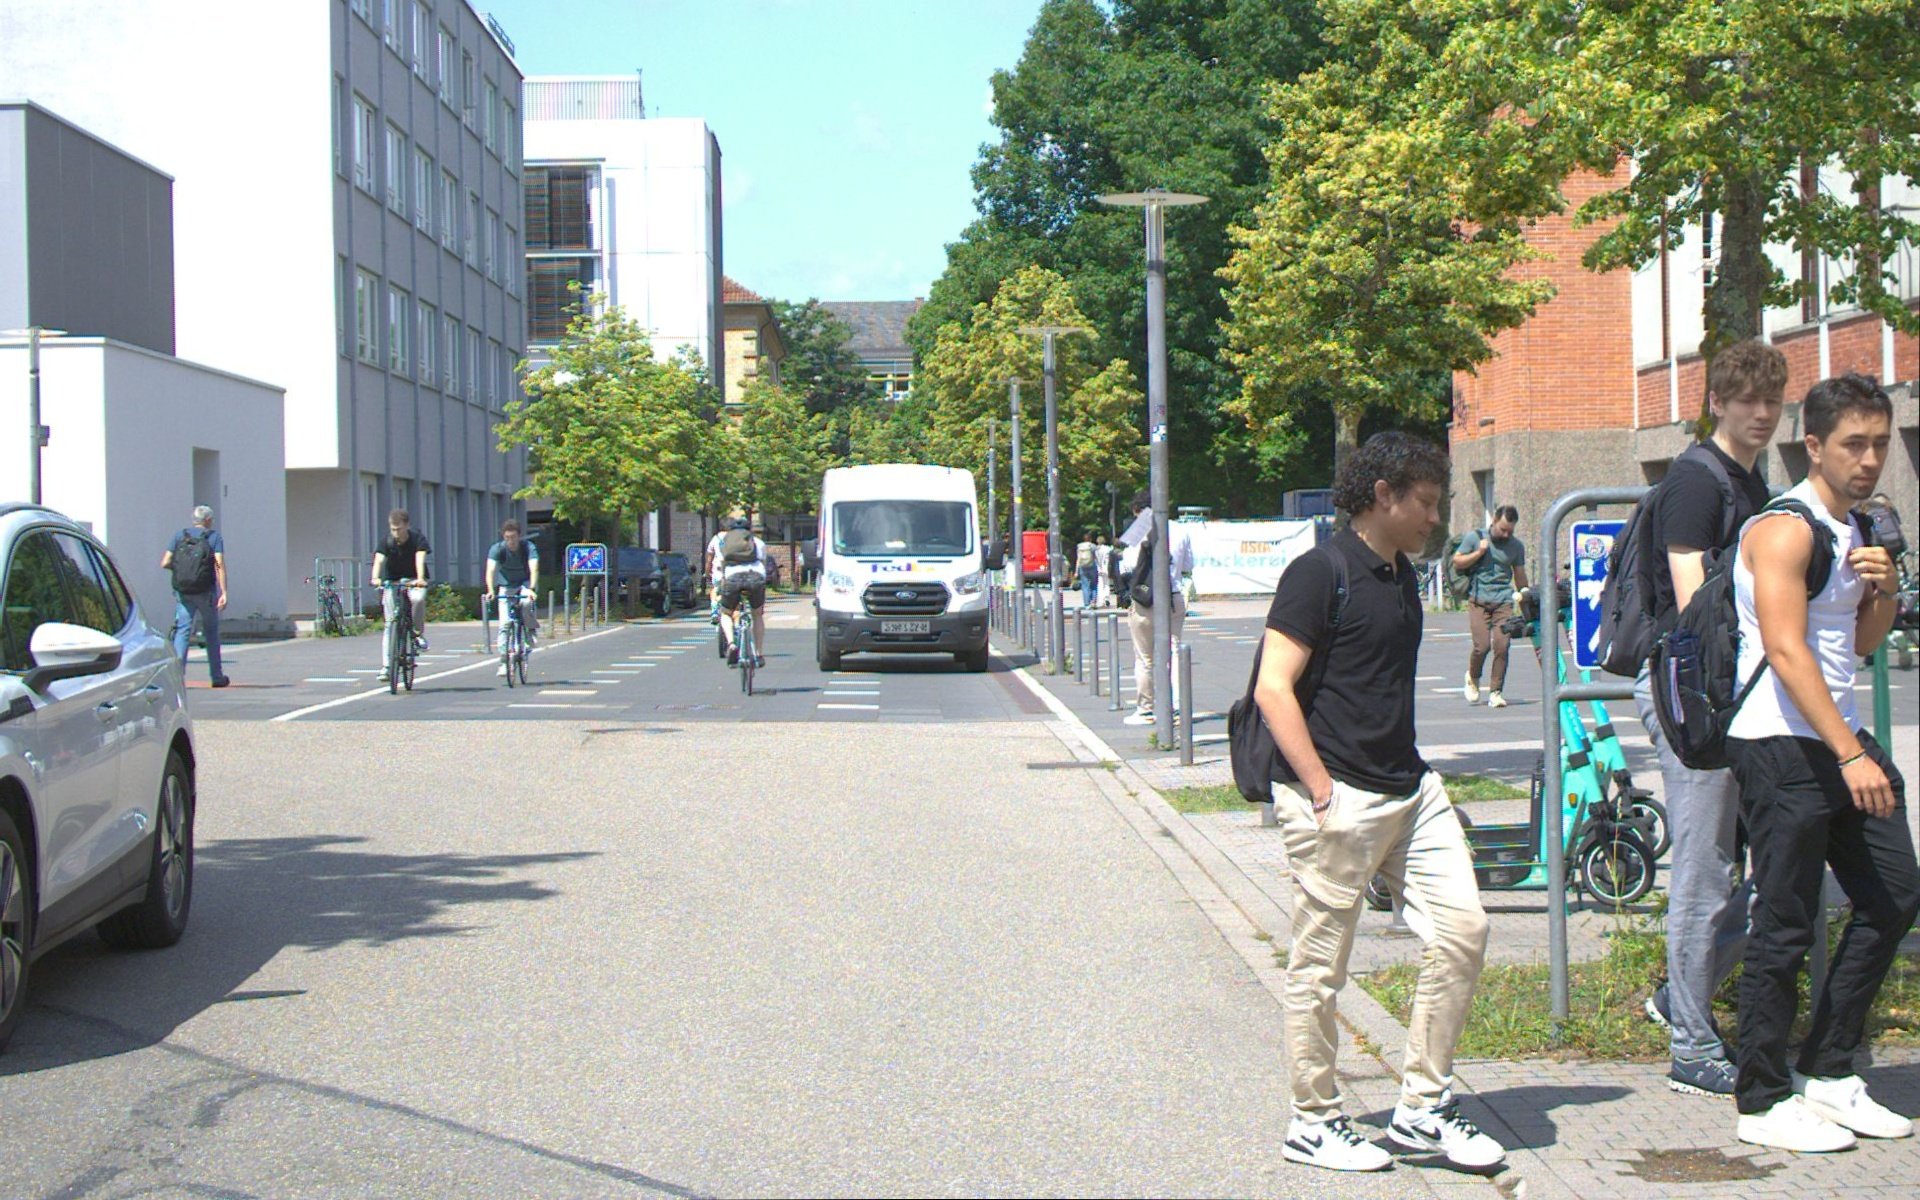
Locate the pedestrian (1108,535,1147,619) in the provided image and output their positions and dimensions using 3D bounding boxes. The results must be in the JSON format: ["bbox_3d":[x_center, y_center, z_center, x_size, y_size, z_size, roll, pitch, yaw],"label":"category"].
[{"bbox_3d":[3.733,-0.522,76.676,0.790,1.853,1.026,-1,1,0],"label":"pedestrian"}]

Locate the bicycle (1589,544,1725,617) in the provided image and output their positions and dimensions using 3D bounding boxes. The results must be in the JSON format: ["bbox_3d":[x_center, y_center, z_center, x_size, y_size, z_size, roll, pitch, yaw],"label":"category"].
[{"bbox_3d":[10.113,-0.285,49.912,1.809,0.981,0.560,-3,1,-1],"label":"bicycle"}]

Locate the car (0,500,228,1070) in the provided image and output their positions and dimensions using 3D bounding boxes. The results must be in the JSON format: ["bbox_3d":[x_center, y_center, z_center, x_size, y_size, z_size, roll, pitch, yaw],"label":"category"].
[{"bbox_3d":[-3.695,0.498,10.799,1.918,1.613,4.521,2,0,-2],"label":"car"}]

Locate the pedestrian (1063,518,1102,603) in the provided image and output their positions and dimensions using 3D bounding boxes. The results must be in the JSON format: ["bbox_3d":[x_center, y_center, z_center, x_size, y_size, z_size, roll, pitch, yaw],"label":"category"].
[{"bbox_3d":[2.736,-0.885,76.862,0.790,1.853,1.243,-1,1,0],"label":"pedestrian"}]

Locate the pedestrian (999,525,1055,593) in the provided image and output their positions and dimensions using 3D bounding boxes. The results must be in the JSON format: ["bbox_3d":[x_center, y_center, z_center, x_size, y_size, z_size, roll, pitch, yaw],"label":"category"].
[{"bbox_3d":[2.082,-1.288,107.475,1.499,1.989,1.646,-4,2,-3],"label":"pedestrian"}]

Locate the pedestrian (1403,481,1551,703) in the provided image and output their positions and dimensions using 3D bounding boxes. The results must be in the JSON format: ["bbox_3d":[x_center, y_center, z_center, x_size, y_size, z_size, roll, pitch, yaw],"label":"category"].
[{"bbox_3d":[4.144,-0.072,27.629,0.853,1.727,1.161,-1,1,-8],"label":"pedestrian"}]

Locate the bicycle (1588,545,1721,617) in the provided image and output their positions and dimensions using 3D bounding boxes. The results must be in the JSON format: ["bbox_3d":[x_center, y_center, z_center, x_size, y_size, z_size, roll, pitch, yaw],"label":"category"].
[{"bbox_3d":[10.249,-0.289,50.745,1.809,0.981,0.560,-3,1,-1],"label":"bicycle"}]

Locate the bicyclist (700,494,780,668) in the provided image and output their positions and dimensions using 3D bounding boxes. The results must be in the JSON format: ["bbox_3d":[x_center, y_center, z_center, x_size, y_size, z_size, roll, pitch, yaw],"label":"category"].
[{"bbox_3d":[-2.146,-0.177,33.647,0.717,1.657,1.095,-2,-1,-3],"label":"bicyclist"}]

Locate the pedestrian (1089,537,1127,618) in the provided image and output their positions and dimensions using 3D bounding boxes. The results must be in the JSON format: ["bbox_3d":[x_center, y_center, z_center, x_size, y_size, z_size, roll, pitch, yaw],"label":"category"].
[{"bbox_3d":[3.443,-0.537,80.115,0.790,1.853,1.026,-1,1,0],"label":"pedestrian"}]

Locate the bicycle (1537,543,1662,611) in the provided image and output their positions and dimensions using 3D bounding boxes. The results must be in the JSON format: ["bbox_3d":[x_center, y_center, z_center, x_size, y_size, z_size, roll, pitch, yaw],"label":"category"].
[{"bbox_3d":[9.993,-0.357,53.782,1.809,0.981,0.560,-3,1,-1],"label":"bicycle"}]

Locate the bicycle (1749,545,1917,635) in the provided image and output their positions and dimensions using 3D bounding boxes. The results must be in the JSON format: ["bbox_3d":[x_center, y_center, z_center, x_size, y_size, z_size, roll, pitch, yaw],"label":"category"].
[{"bbox_3d":[10.353,-0.127,40.810,1.809,0.981,0.560,-3,1,-1],"label":"bicycle"}]

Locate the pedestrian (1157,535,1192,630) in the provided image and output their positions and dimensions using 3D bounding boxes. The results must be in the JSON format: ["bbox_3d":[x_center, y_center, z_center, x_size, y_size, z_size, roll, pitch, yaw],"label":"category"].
[{"bbox_3d":[4.224,-0.357,67.777,0.576,1.853,0.570,-1,1,-3],"label":"pedestrian"}]

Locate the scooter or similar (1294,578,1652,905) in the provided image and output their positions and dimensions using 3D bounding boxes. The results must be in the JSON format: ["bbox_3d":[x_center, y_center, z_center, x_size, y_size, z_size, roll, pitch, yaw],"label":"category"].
[{"bbox_3d":[2.082,0.555,13.973,1.262,1.260,0.649,-1,1,31],"label":"scooter or similar"}]

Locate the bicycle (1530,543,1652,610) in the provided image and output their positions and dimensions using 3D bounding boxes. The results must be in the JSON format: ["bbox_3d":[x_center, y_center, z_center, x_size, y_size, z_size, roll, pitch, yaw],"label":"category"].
[{"bbox_3d":[10.045,-0.380,54.746,1.809,0.981,0.560,-3,1,-1],"label":"bicycle"}]

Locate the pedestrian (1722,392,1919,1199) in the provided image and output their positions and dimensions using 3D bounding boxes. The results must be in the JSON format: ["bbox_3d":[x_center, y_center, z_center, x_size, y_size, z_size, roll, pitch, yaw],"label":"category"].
[{"bbox_3d":[1.945,0.506,5.846,0.983,1.733,0.699,-2,1,40],"label":"pedestrian"}]

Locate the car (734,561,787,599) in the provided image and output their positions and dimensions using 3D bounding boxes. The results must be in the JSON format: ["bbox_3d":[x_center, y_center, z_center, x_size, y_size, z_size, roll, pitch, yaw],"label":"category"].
[{"bbox_3d":[-8.352,-0.842,144.238,1.795,1.525,4.000,-1,1,3],"label":"car"}]

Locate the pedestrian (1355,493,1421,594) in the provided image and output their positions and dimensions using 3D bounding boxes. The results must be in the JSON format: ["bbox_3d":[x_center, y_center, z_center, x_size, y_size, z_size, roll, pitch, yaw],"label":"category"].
[{"bbox_3d":[8.004,-1.057,64.266,0.853,1.853,1.115,-1,1,28],"label":"pedestrian"}]

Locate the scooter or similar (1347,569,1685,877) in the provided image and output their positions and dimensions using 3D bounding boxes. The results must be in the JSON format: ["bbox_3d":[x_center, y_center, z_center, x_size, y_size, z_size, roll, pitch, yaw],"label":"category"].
[{"bbox_3d":[2.390,0.513,14.789,1.262,1.260,0.638,-1,1,31],"label":"scooter or similar"}]

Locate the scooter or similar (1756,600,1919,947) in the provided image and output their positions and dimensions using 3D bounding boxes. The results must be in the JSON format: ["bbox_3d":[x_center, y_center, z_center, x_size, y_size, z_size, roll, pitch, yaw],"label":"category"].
[{"bbox_3d":[3.238,0.599,12.433,0.649,1.156,1.264,-1,1,14],"label":"scooter or similar"}]

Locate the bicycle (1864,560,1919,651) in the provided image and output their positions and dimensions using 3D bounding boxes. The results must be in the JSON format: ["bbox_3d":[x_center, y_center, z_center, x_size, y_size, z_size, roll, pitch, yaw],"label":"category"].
[{"bbox_3d":[10.367,0.028,35.646,1.809,0.909,0.560,-2,1,-1],"label":"bicycle"}]

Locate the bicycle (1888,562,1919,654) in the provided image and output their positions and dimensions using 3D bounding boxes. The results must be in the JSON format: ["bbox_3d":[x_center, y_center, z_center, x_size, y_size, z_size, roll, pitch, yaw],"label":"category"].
[{"bbox_3d":[10.401,0.045,34.827,1.809,0.909,0.560,-2,1,-1],"label":"bicycle"}]

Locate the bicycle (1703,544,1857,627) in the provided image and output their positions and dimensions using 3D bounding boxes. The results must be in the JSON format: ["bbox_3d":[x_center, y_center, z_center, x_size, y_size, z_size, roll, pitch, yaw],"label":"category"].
[{"bbox_3d":[10.538,-0.187,44.193,1.809,0.981,0.560,-3,1,-1],"label":"bicycle"}]

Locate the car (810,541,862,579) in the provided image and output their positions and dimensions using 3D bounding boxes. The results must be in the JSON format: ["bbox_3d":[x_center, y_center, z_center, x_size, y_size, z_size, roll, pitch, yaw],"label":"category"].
[{"bbox_3d":[-5.191,-1.685,143.964,1.795,1.525,4.000,-1,1,3],"label":"car"}]

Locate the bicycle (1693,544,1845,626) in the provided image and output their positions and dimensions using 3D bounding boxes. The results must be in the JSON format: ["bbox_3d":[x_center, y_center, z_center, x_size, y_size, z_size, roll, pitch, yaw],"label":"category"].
[{"bbox_3d":[10.539,-0.198,44.834,1.809,0.981,0.560,-3,1,-1],"label":"bicycle"}]

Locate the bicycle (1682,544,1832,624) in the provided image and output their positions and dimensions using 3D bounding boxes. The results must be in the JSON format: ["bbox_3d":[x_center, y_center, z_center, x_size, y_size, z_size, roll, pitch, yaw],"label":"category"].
[{"bbox_3d":[10.521,-0.216,45.429,1.809,0.981,0.560,-3,1,-1],"label":"bicycle"}]

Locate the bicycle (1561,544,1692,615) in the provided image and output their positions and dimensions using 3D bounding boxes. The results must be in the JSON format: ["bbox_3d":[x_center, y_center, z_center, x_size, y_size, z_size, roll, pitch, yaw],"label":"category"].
[{"bbox_3d":[9.974,-0.306,51.445,1.809,0.981,0.560,-3,1,-1],"label":"bicycle"}]

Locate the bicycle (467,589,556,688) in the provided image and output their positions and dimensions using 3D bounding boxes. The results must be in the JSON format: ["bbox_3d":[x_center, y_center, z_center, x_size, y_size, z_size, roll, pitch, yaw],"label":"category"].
[{"bbox_3d":[-4.612,0.386,35.431,0.677,0.961,2.003,1,1,-1],"label":"bicycle"}]

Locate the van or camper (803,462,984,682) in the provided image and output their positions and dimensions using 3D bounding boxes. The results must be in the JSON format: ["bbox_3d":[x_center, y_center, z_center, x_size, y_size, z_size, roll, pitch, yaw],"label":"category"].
[{"bbox_3d":[-0.742,-0.325,41.372,1.993,2.437,4.569,-2,0,0],"label":"van or camper"}]

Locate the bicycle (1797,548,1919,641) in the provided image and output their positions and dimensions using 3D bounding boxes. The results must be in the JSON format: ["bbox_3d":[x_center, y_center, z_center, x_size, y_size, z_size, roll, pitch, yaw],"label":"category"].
[{"bbox_3d":[10.450,-0.079,38.851,1.809,0.981,0.560,-3,1,-1],"label":"bicycle"}]

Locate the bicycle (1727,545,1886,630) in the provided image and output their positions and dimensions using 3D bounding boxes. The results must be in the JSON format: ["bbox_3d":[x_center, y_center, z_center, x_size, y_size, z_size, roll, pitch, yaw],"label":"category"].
[{"bbox_3d":[10.582,-0.156,43.004,1.809,0.981,0.560,-3,1,-1],"label":"bicycle"}]

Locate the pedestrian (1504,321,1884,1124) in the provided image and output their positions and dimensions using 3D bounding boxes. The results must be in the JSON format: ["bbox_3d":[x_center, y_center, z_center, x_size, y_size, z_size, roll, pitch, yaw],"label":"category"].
[{"bbox_3d":[1.911,0.300,8.901,0.827,1.973,0.691,-1,1,20],"label":"pedestrian"}]

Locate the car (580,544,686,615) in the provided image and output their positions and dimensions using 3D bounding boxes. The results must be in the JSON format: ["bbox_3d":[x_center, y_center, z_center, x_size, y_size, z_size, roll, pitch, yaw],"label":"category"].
[{"bbox_3d":[-7.411,-0.493,78.146,1.795,1.525,4.000,-1,1,3],"label":"car"}]

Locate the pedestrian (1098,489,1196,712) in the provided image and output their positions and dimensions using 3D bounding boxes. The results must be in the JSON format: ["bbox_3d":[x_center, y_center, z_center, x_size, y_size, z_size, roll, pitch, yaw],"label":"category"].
[{"bbox_3d":[1.454,-0.011,26.817,0.702,1.688,0.962,0,3,-1],"label":"pedestrian"}]

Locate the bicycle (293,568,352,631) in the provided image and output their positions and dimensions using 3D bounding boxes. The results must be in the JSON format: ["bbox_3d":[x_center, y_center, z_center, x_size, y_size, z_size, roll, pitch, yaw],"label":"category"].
[{"bbox_3d":[-10.342,-0.014,55.807,0.523,0.981,1.632,-2,1,3],"label":"bicycle"}]

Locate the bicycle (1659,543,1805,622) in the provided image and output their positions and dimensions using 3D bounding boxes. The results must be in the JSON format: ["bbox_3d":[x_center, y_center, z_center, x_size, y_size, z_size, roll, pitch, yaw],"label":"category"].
[{"bbox_3d":[10.472,-0.242,46.665,1.809,0.981,0.560,-3,1,-1],"label":"bicycle"}]

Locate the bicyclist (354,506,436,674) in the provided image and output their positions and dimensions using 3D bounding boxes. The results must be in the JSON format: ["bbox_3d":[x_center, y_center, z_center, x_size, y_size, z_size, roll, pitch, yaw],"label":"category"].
[{"bbox_3d":[-5.510,-0.106,33.545,0.643,1.596,0.909,-2,1,-3],"label":"bicyclist"}]

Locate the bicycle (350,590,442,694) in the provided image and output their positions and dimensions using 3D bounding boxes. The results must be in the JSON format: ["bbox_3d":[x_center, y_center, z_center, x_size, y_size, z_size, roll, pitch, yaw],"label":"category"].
[{"bbox_3d":[-5.497,0.397,33.569,0.677,0.961,2.003,0,1,-3],"label":"bicycle"}]

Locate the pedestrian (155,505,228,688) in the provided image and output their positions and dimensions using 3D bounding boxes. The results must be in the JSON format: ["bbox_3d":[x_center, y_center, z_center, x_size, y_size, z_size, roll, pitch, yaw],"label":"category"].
[{"bbox_3d":[-7.588,-0.040,33.924,0.666,1.779,0.985,-1,0,-14],"label":"pedestrian"}]

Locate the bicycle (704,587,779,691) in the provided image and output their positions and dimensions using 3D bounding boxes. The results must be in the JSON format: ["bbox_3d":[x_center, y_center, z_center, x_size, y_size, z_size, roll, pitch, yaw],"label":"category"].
[{"bbox_3d":[-2.160,0.371,33.892,0.706,0.990,1.911,-1,0,-4],"label":"bicycle"}]

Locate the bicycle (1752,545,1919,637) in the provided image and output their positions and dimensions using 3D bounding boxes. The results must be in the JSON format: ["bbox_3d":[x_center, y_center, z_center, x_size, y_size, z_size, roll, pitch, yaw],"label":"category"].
[{"bbox_3d":[10.239,-0.107,40.173,1.809,0.981,0.560,-3,1,-1],"label":"bicycle"}]

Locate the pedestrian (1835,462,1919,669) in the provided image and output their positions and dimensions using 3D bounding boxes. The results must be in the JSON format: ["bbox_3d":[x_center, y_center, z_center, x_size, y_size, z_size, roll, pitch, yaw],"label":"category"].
[{"bbox_3d":[8.596,-0.326,31.546,0.790,1.853,1.116,-1,1,-1],"label":"pedestrian"}]

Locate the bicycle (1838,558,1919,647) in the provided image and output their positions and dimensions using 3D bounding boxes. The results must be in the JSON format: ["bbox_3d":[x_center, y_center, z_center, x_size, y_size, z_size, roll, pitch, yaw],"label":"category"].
[{"bbox_3d":[10.467,0.000,37.089,1.809,0.909,0.560,-3,1,-1],"label":"bicycle"}]

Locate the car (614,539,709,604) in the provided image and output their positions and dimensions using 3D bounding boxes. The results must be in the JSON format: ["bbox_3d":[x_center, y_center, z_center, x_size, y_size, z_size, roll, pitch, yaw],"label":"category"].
[{"bbox_3d":[-7.407,-0.733,85.559,1.795,1.525,4.000,-1,1,3],"label":"car"}]

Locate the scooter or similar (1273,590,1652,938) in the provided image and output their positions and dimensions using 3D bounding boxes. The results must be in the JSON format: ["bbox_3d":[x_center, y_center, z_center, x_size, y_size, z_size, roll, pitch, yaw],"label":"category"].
[{"bbox_3d":[1.926,0.608,13.198,1.262,1.260,0.649,-1,1,31],"label":"scooter or similar"}]

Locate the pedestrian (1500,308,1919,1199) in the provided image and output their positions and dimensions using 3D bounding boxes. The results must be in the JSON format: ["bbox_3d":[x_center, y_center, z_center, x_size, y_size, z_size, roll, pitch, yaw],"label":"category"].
[{"bbox_3d":[1.807,0.348,8.021,0.616,1.973,0.829,-2,-1,-32],"label":"pedestrian"}]

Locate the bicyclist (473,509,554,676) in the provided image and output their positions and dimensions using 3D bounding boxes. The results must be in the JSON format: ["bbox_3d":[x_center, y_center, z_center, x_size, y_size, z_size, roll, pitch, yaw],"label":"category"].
[{"bbox_3d":[-4.612,-0.085,35.540,0.667,1.676,0.993,-2,1,-1],"label":"bicyclist"}]

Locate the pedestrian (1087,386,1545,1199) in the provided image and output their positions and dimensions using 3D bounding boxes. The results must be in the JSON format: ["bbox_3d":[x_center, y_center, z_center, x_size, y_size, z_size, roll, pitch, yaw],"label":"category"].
[{"bbox_3d":[0.841,0.418,7.951,0.802,1.766,0.853,-1,1,22],"label":"pedestrian"}]

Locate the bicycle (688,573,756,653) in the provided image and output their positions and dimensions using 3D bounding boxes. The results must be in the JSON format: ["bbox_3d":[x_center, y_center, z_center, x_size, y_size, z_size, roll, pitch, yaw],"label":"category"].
[{"bbox_3d":[-3.175,0.166,45.975,0.808,0.999,2.124,1,1,-2],"label":"bicycle"}]

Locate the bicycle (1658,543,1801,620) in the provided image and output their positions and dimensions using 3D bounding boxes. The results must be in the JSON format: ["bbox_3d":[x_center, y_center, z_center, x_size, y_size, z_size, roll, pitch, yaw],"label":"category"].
[{"bbox_3d":[10.598,-0.259,47.381,1.809,0.981,0.560,-3,1,-1],"label":"bicycle"}]

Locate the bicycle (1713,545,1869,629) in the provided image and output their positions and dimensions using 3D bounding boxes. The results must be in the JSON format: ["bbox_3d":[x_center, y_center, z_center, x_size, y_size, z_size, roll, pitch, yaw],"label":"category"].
[{"bbox_3d":[10.534,-0.171,43.605,1.809,0.981,0.560,-3,1,-1],"label":"bicycle"}]

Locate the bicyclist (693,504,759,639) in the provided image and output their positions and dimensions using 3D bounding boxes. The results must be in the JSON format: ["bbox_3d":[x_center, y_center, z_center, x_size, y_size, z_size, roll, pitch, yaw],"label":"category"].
[{"bbox_3d":[-3.128,-0.381,45.920,0.771,1.750,0.848,3,0,-2],"label":"bicyclist"}]
